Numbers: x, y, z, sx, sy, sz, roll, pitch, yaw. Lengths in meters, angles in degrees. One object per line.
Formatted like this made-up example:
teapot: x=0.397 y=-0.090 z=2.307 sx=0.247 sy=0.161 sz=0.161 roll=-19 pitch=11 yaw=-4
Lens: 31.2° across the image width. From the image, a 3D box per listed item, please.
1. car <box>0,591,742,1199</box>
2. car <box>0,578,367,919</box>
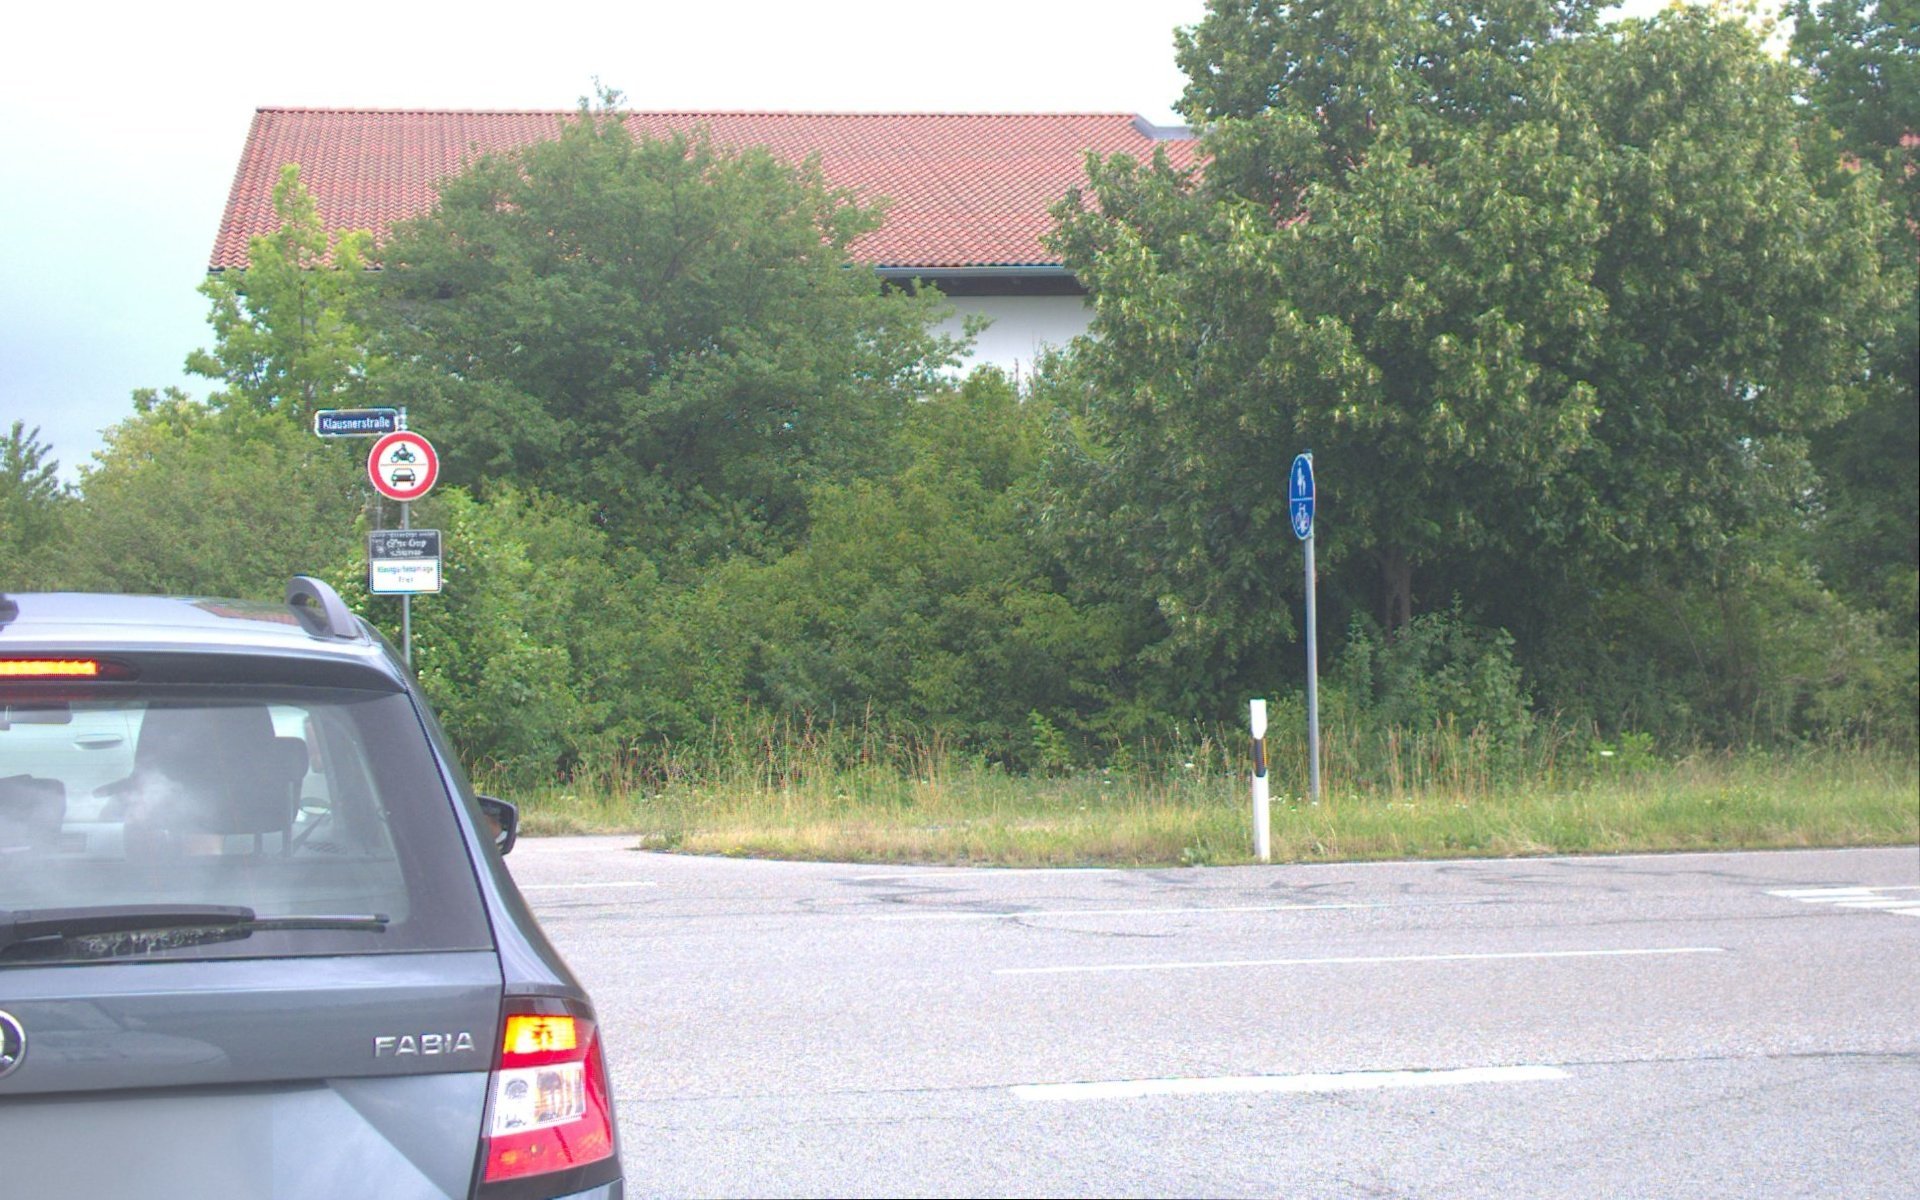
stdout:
car: x=-1.607 y=0.712 z=5.611 sx=1.712 sy=1.442 sz=4.118 roll=0 pitch=0 yaw=-15
car: x=-5.219 y=0.793 z=17.645 sx=4.246 sy=1.618 sz=2.000 roll=-1 pitch=-2 yaw=-10
